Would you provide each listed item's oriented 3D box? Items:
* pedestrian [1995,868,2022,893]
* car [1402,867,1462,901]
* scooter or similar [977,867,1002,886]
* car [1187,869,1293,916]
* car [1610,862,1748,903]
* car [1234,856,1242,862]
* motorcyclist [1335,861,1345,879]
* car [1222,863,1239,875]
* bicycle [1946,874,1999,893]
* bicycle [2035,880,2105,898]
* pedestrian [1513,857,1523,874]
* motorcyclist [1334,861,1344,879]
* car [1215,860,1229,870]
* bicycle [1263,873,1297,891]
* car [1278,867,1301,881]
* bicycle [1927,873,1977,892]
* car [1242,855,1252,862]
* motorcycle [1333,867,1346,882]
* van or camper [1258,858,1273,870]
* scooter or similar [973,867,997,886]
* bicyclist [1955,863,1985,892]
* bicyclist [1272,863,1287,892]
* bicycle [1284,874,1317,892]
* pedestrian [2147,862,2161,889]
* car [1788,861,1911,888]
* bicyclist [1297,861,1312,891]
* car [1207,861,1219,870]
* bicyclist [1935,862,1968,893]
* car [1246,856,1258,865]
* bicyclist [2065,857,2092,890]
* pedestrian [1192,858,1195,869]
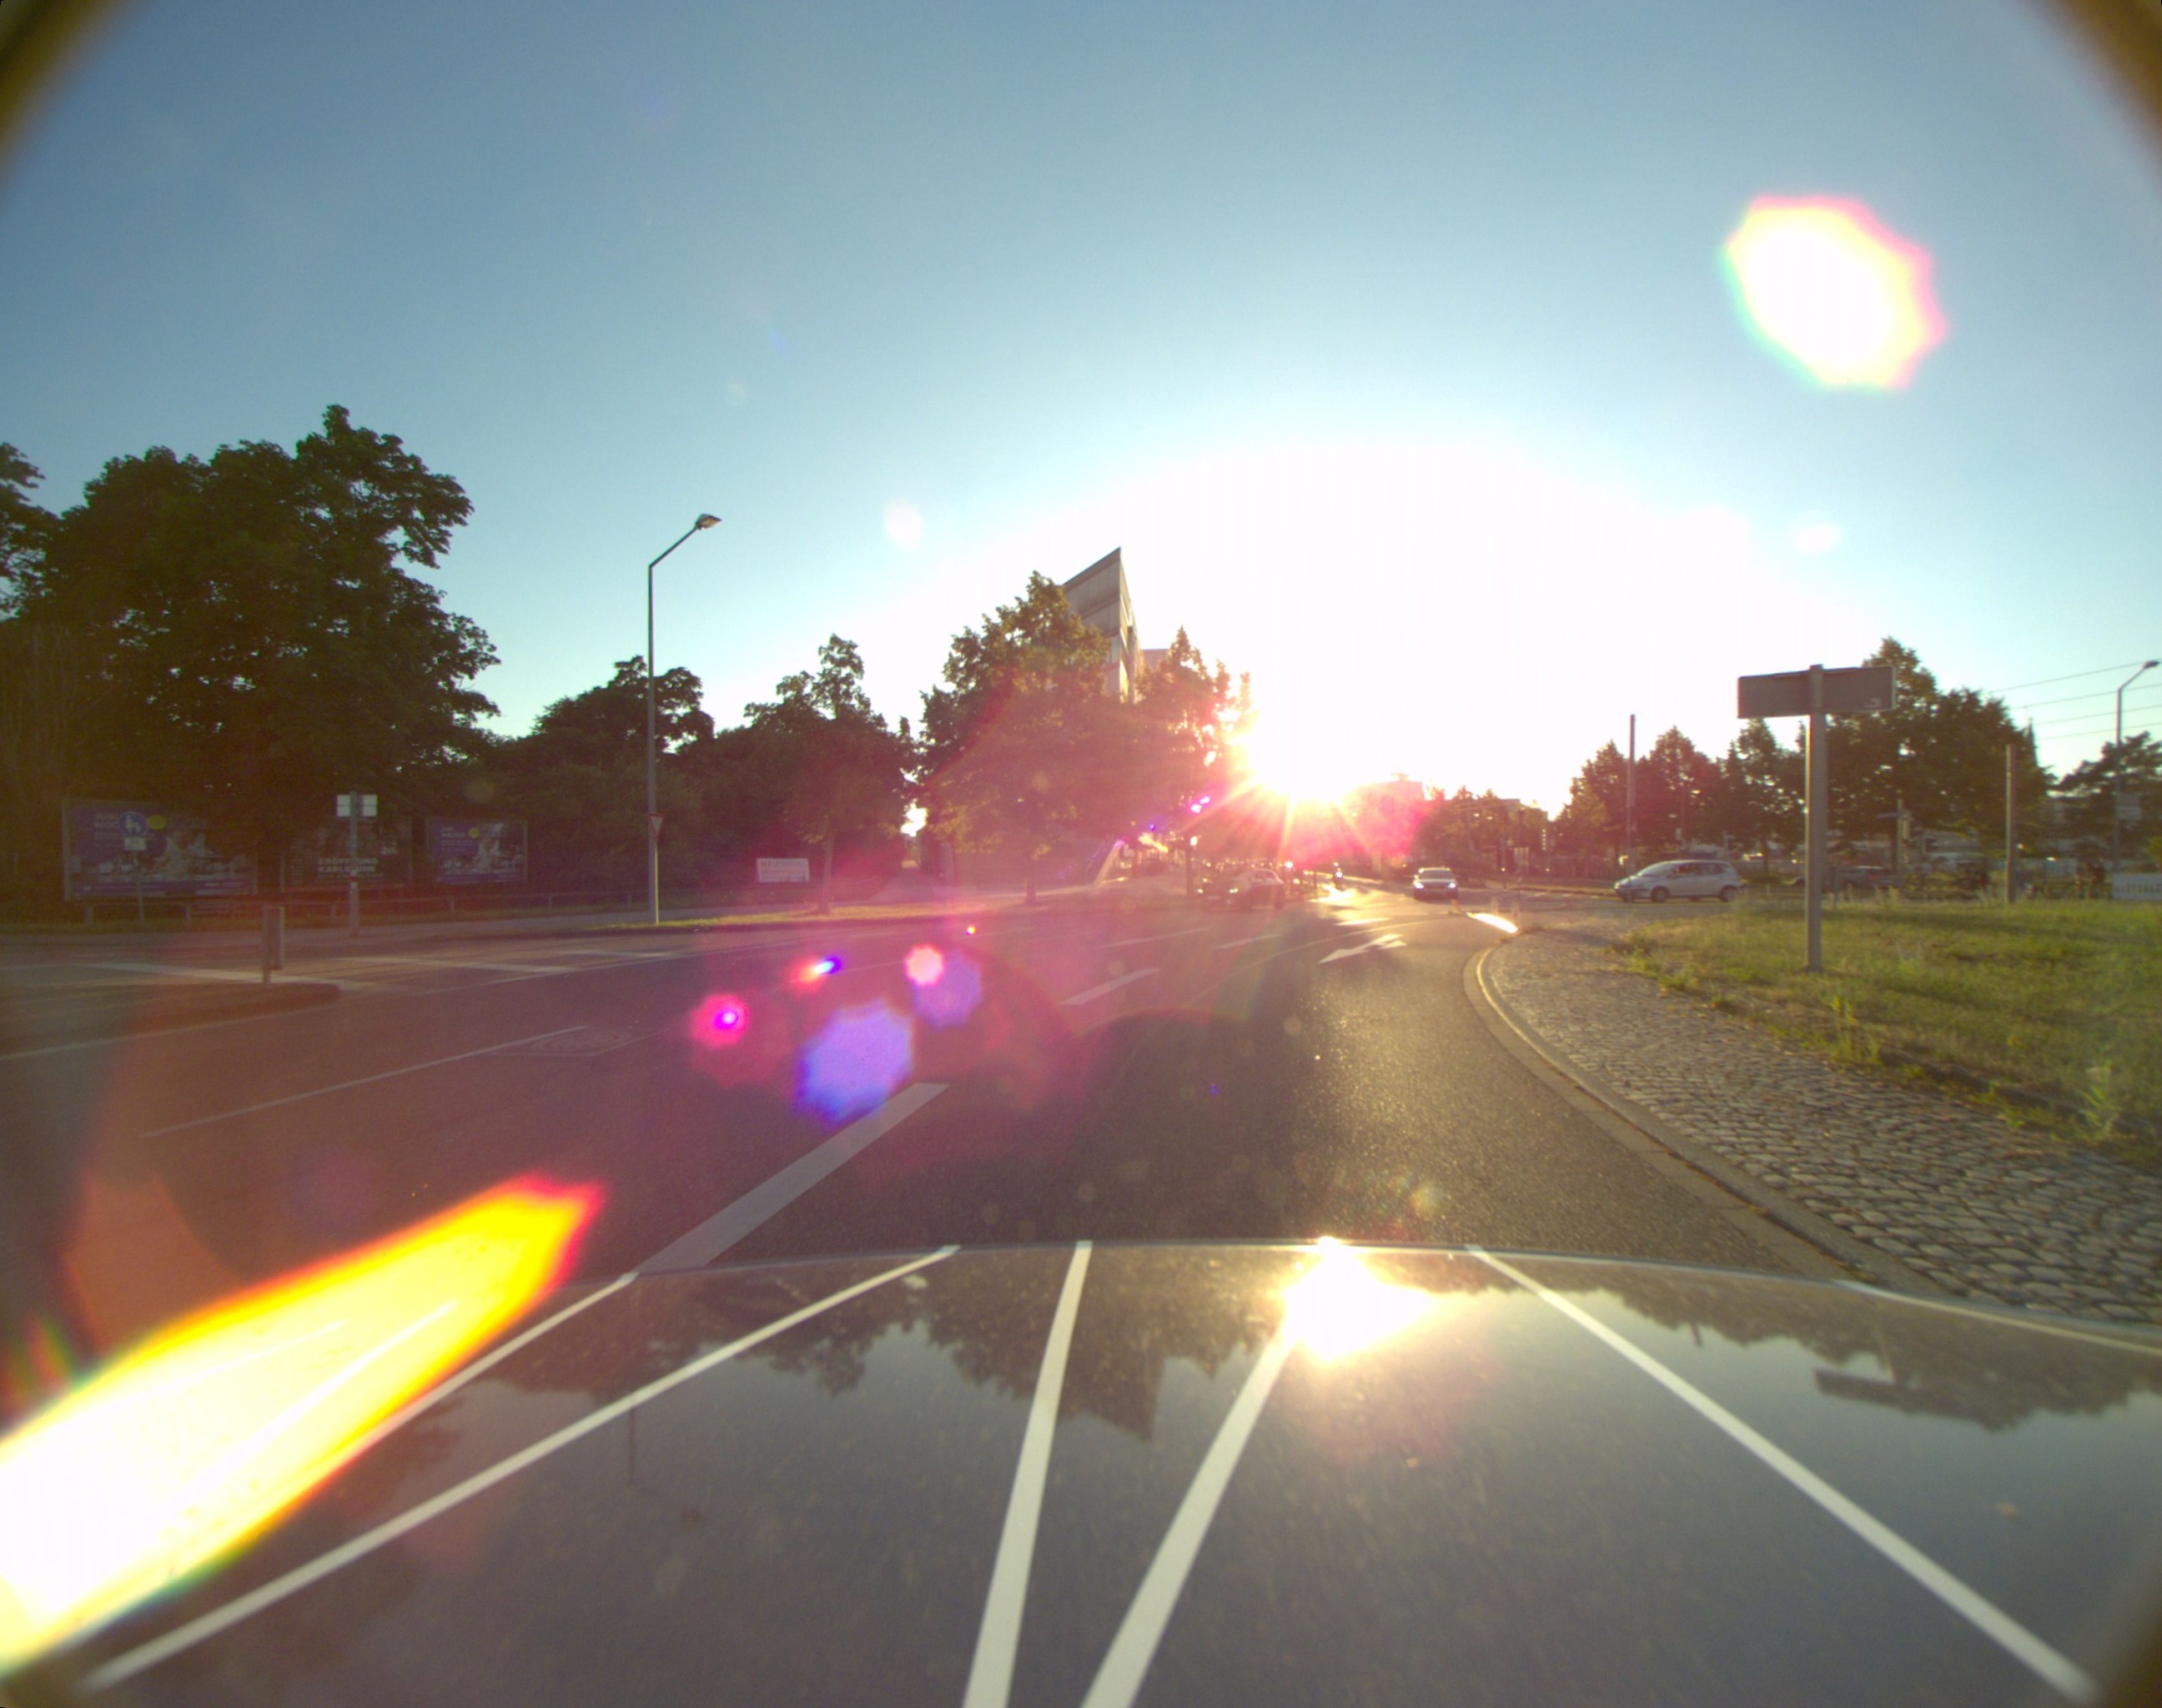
[{"bbox_3d":[49.737,1.413,40.740,0.618,1.358,0.695,0,0,11],"label":"pedestrian"},{"bbox_3d":[16.164,1.347,35.168,1.800,1.414,4.454,0,0,15],"label":"car"},{"bbox_3d":[-5.991,1.455,49.847,1.574,1.213,0.367,0,0,18],"label":"scooter or similar"},{"bbox_3d":[5.541,1.258,26.129,1.798,1.455,4.009,0,0,42],"label":"car"},{"bbox_3d":[21.554,1.013,27.491,3.707,1.457,1.607,0,0,1],"label":"car"},{"bbox_3d":[39.493,1.287,190.974,1.801,1.455,4.003,0,0,8],"label":"car"},{"bbox_3d":[19.635,1.210,57.572,0.635,1.408,0.715,0,1,9],"label":"motorcyclist"},{"bbox_3d":[18.808,1.837,95.837,1.801,1.455,4.003,0,0,8],"label":"car"},{"bbox_3d":[46.712,1.533,39.827,1.840,0.975,0.537,0,0,11],"label":"bicycle"},{"bbox_3d":[49.987,1.758,38.421,0.513,0.841,2.130,0,-1,-33],"label":"bicycle"},{"bbox_3d":[41.608,1.131,72.307,0.707,1.623,0.446,0,0,6],"label":"pedestrian"},{"bbox_3d":[19.749,1.215,58.217,0.635,1.400,0.594,0,1,9],"label":"motorcyclist"},{"bbox_3d":[20.706,1.662,111.581,1.801,1.455,4.003,0,0,8],"label":"car"},{"bbox_3d":[11.402,1.579,43.523,1.862,1.016,0.308,0,0,-2],"label":"bicycle"},{"bbox_3d":[23.068,2.223,84.121,1.890,1.472,4.053,0,0,8],"label":"car"},{"bbox_3d":[46.787,1.518,40.830,1.840,0.975,0.550,0,0,11],"label":"bicycle"},{"bbox_3d":[37.594,1.030,172.253,1.892,1.613,4.002,0,0,5],"label":"car"},{"bbox_3d":[19.707,1.534,57.962,0.557,1.094,2.161,0,0,10],"label":"motorcycle"},{"bbox_3d":[32.243,1.693,132.820,1.997,1.946,5.331,0,0,7],"label":"van or camper"},{"bbox_3d":[-6.219,1.467,49.298,1.574,1.213,0.367,0,0,18],"label":"scooter or similar"},{"bbox_3d":[46.624,1.217,39.848,0.813,1.497,0.593,0,0,11],"label":"bicyclist"},{"bbox_3d":[11.366,1.357,43.534,0.684,1.638,0.684,0,0,-2],"label":"bicyclist"},{"bbox_3d":[13.111,1.729,45.379,1.860,1.016,0.438,0,0,15],"label":"bicycle"},{"bbox_3d":[53.184,1.064,37.547,0.434,1.358,0.502,0,0,-23],"label":"pedestrian"},{"bbox_3d":[43.005,1.121,42.690,1.931,1.407,4.649,0,-1,-6],"label":"car"},{"bbox_3d":[13.244,1.278,45.027,0.848,1.745,0.805,0,0,15],"label":"bicyclist"},{"bbox_3d":[22.208,1.902,128.133,1.801,1.455,4.003,0,0,8],"label":"car"},{"bbox_3d":[46.778,1.258,40.840,0.813,1.630,0.816,0,0,11],"label":"bicyclist"},{"bbox_3d":[35.024,1.362,155.703,1.718,1.827,4.001,0,0,4],"label":"car"},{"bbox_3d":[50.031,0.973,38.111,0.697,1.624,0.796,0,0,-33],"label":"bicyclist"},{"bbox_3d":[19.585,1.624,132.044,0.538,2.002,0.527,0,0,7],"label":"pedestrian"}]
